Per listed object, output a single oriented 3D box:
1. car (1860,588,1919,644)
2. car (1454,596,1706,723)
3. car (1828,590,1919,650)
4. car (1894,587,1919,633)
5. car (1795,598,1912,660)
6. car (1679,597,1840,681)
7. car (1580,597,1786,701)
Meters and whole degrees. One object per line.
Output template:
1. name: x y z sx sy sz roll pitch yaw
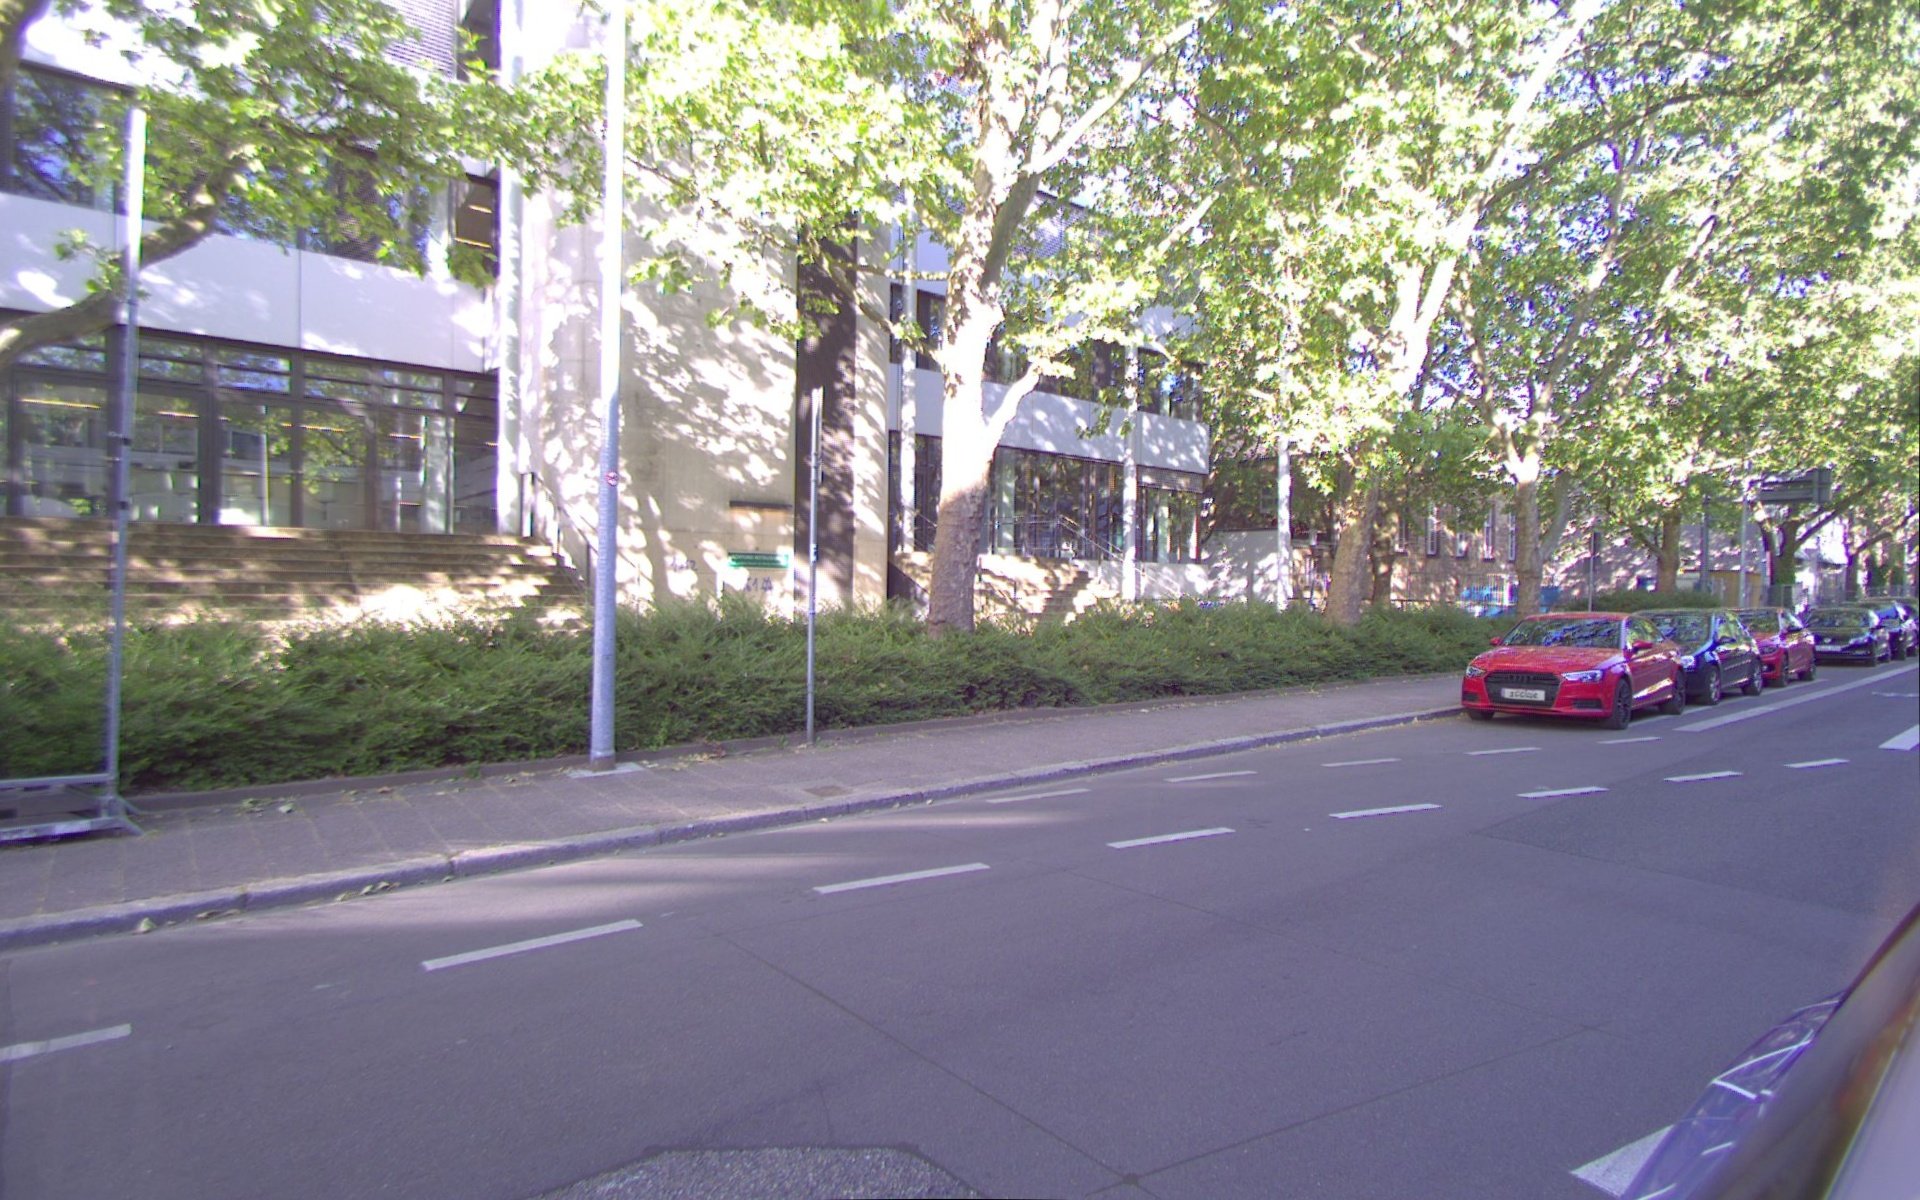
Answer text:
1. car: 31.089 0.482 33.068 4.188 1.747 1.997 -1 0 -41
2. car: 8.369 0.674 13.514 4.101 1.443 1.773 0 -1 -42
3. car: 26.654 0.525 29.207 4.158 1.601 1.847 0 1 -41
4. car: 35.747 0.362 37.090 4.004 1.638 1.797 0 1 -41
5. car: 22.991 0.681 26.010 3.930 1.456 1.744 0 1 -41
6. car: 15.836 0.687 19.991 3.930 1.456 1.789 0 1 -41
7. car: 11.881 0.700 16.555 3.929 1.475 1.812 0 1 -40
